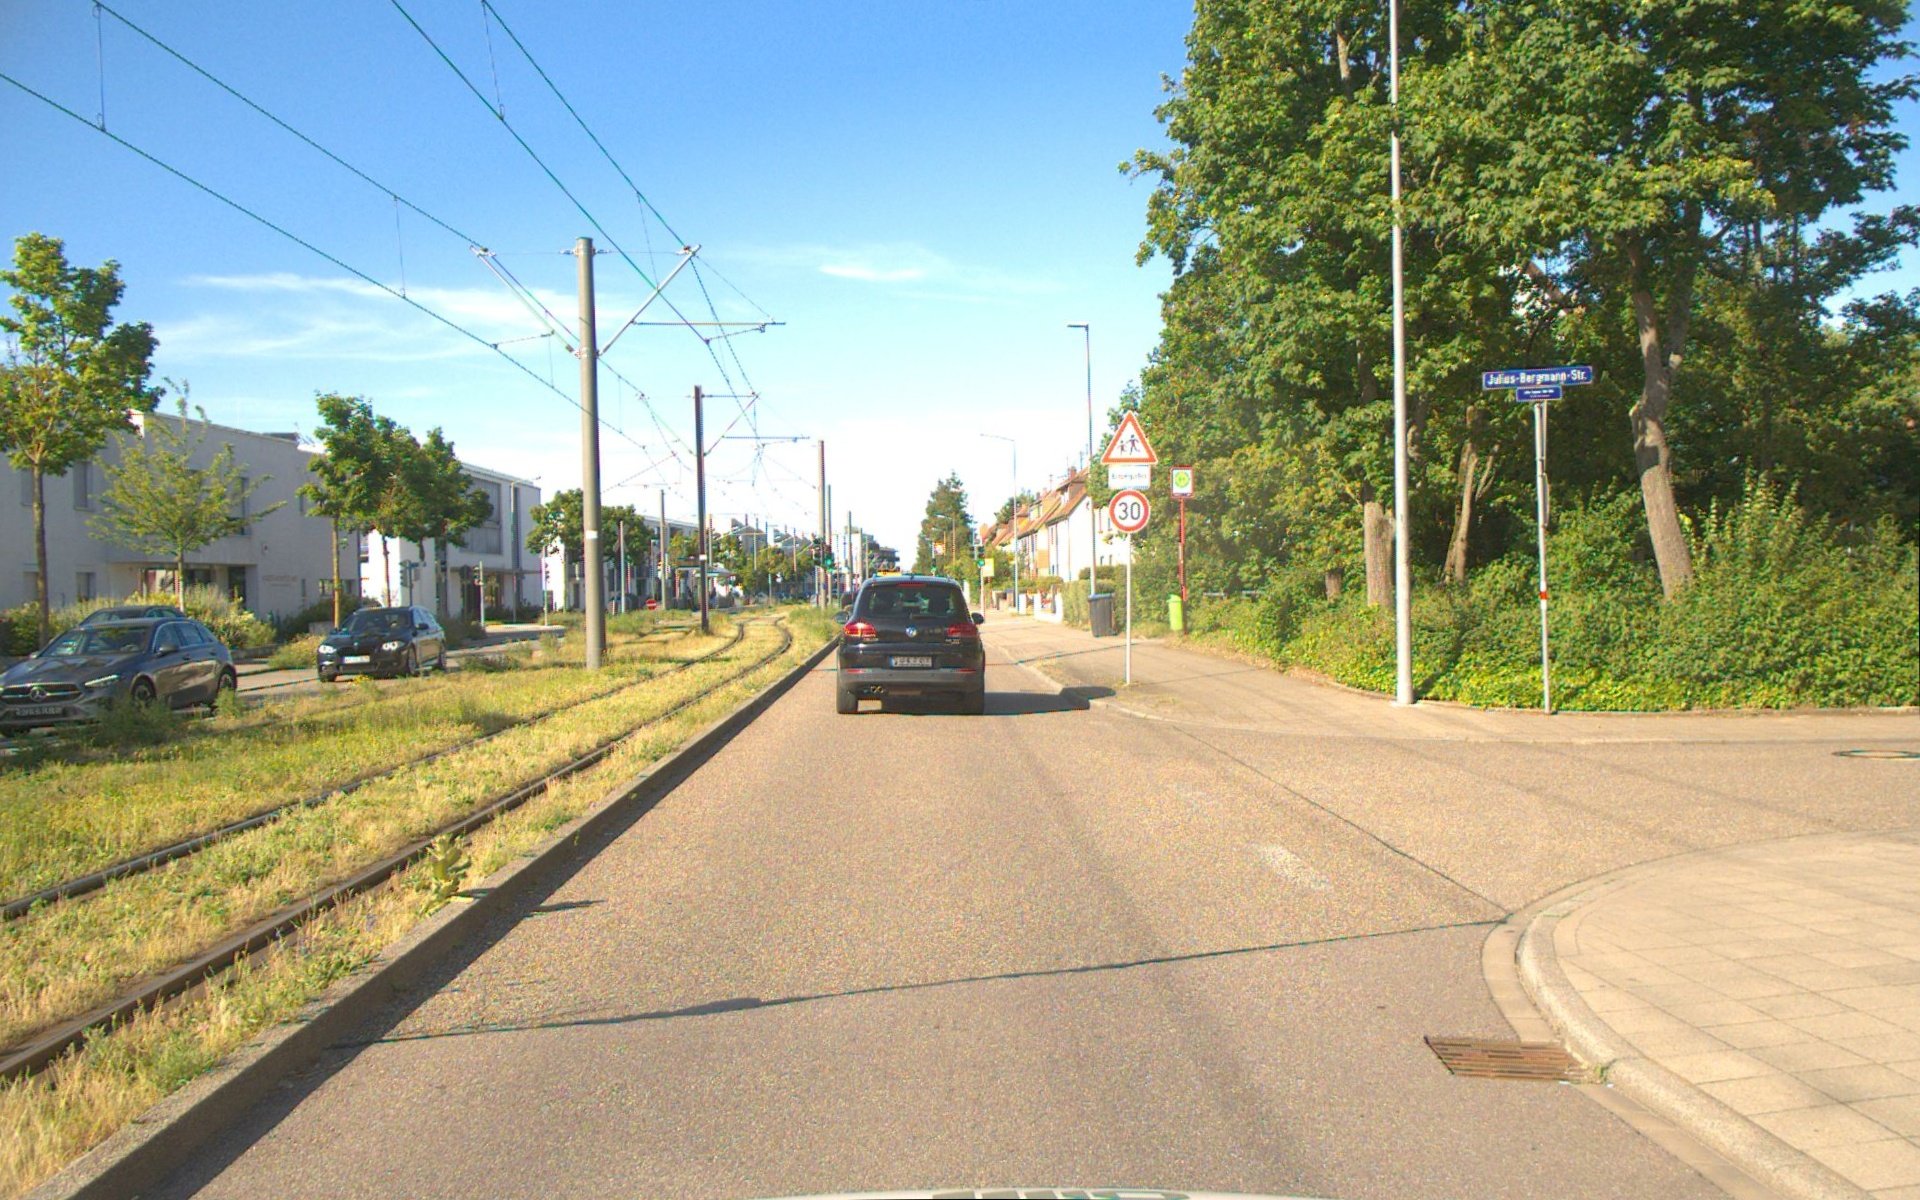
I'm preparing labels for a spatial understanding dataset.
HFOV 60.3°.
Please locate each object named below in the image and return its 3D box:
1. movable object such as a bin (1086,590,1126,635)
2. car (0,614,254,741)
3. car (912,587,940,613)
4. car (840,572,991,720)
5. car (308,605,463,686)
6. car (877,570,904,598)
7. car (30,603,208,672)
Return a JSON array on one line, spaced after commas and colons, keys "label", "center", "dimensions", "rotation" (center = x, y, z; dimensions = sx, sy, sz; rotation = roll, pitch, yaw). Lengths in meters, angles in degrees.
[{"label": "movable object such as a bin", "center": [3.859, 0.310, 43.693], "dimensions": [0.956, 1.130, 1.170], "rotation": [-2, 1, 2]}, {"label": "car", "center": [-11.339, 0.976, 22.492], "dimensions": [1.654, 1.413, 4.386], "rotation": [-4, 0, -2]}, {"label": "car", "center": [-2.432, -0.014, 116.884], "dimensions": [1.741, 1.699, 3.997], "rotation": [-2, 0, -4]}, {"label": "car", "center": [-0.643, 0.524, 21.217], "dimensions": [1.740, 1.699, 3.997], "rotation": [0, 0, -4]}, {"label": "car", "center": [-12.108, 0.906, 35.175], "dimensions": [1.727, 1.469, 4.914], "rotation": [-4, 0, -3]}, {"label": "car", "center": [-6.666, -1.509, 158.388], "dimensions": [2.346, 2.609, 5.528], "rotation": [-2, 0, -1]}, {"label": "car", "center": [-19.442, 0.829, 38.459], "dimensions": [1.773, 1.486, 4.319], "rotation": [0, 0, 2]}]
